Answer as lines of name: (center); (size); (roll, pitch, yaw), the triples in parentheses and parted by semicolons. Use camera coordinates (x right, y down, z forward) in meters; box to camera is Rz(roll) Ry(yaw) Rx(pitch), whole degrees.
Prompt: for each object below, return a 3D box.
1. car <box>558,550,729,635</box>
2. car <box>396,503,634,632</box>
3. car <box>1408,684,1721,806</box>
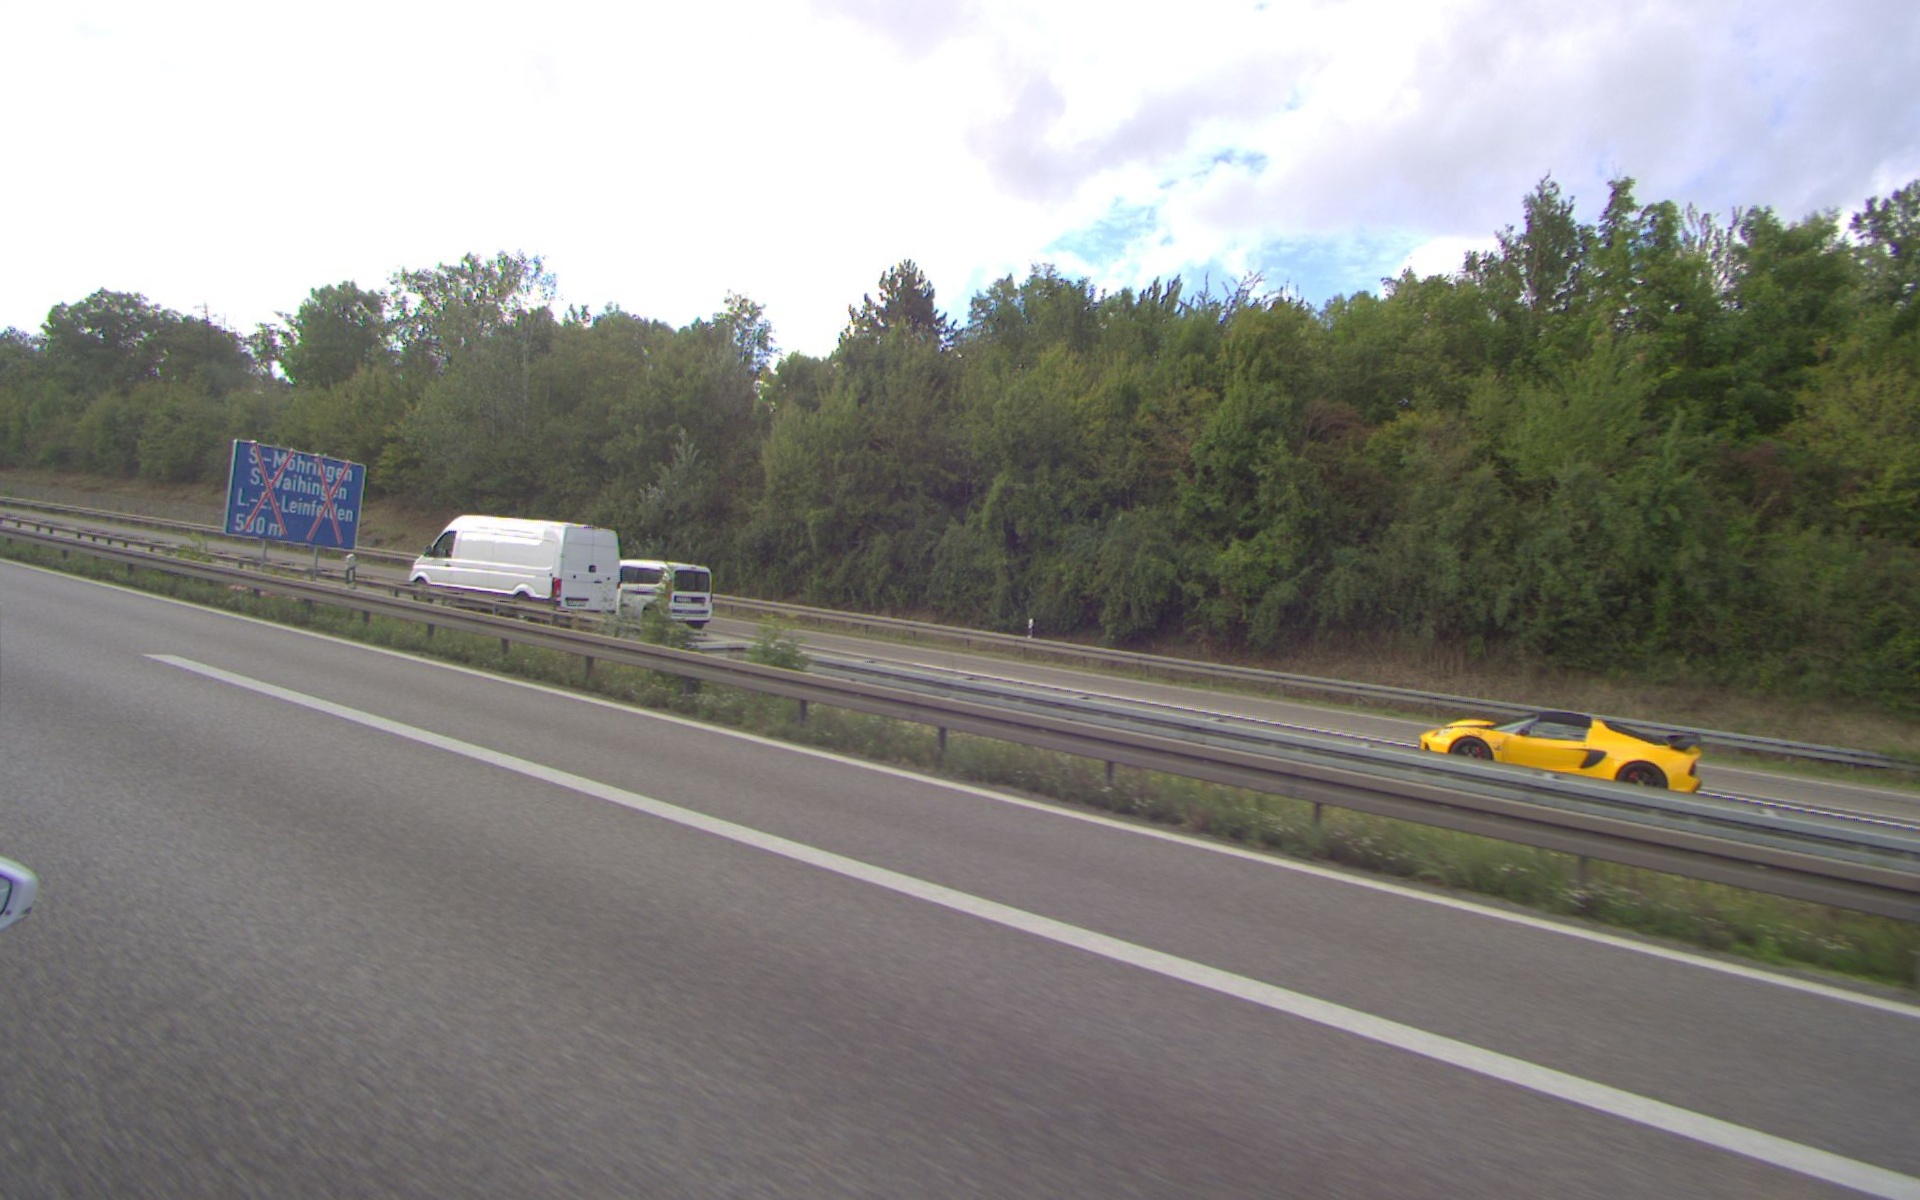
car: (-8.980, -0.239, 28.442); (4.685, 1.772, 1.846); (7, -1, 32)
car: (-11.628, -0.886, 26.036); (6.631, 2.586, 2.072); (7, 1, 32)
car: (9.730, 2.281, 16.490); (4.099, 1.195, 1.715); (7, -1, 31)
